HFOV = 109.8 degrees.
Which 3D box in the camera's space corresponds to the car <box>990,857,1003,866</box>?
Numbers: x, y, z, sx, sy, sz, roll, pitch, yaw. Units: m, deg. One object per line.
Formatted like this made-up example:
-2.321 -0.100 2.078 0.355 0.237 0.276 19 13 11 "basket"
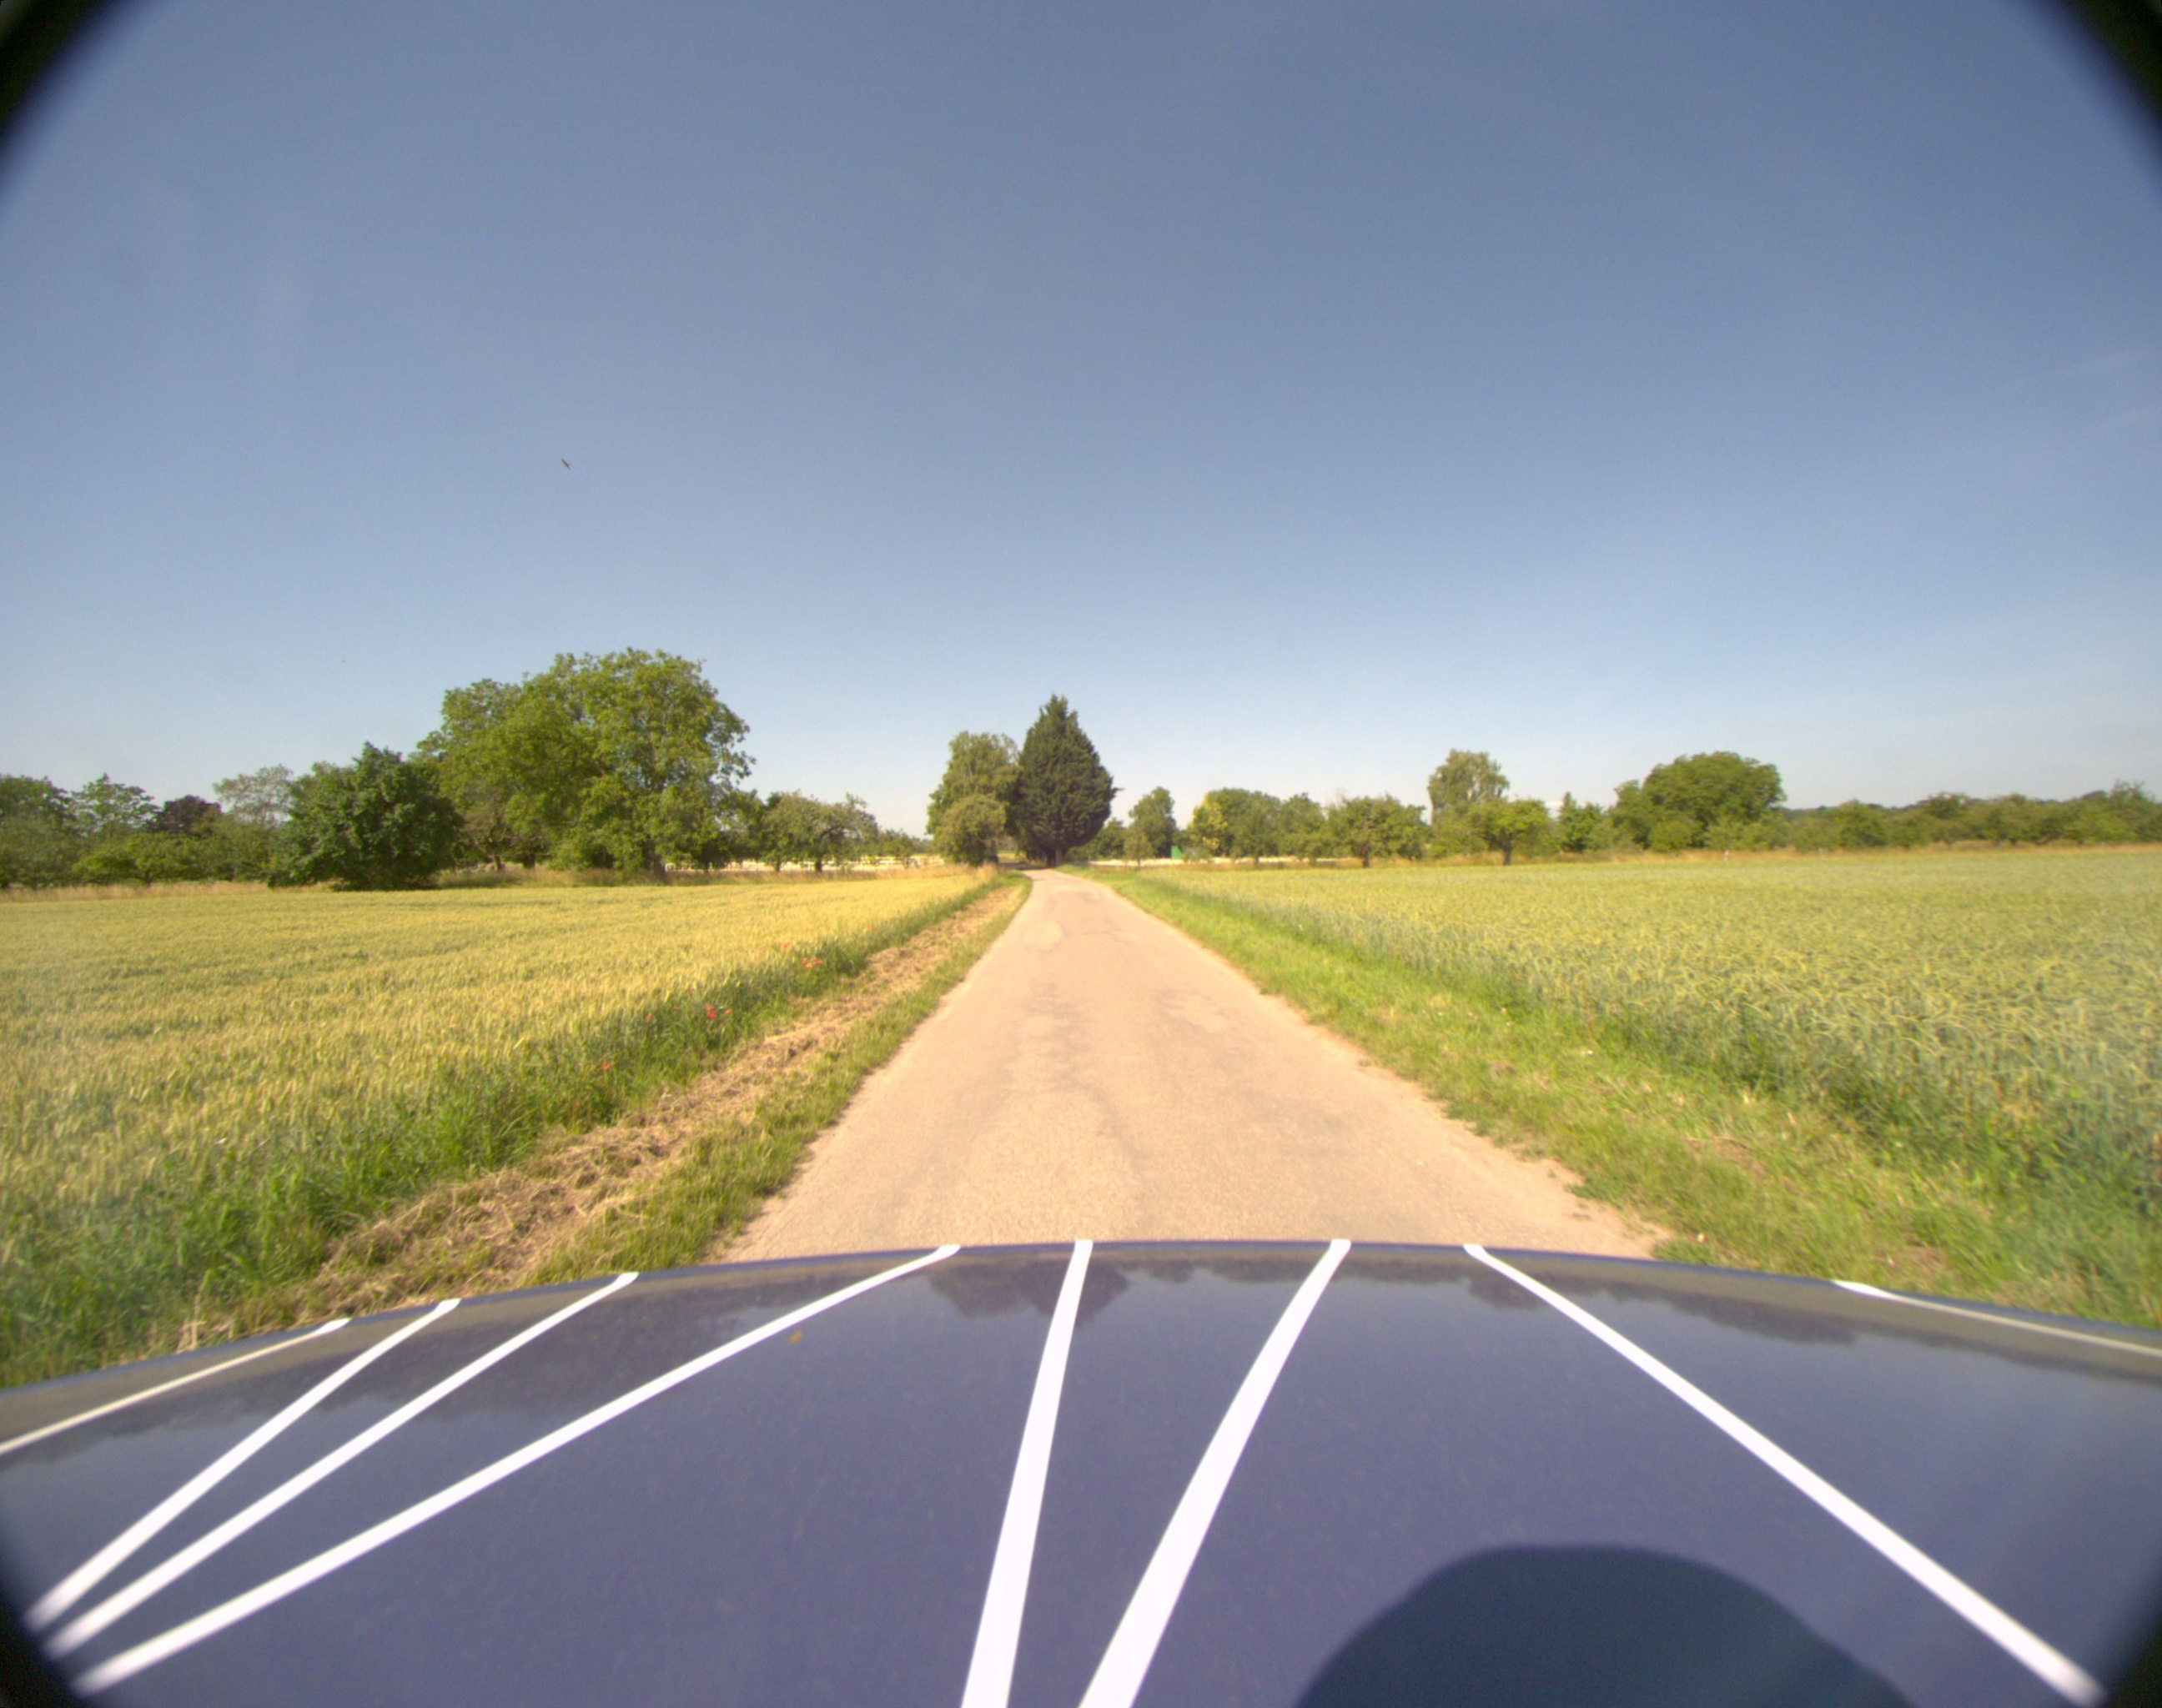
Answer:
-12.779 1.087 114.930 1.723 1.312 3.740 -1 0 -9 "car"
